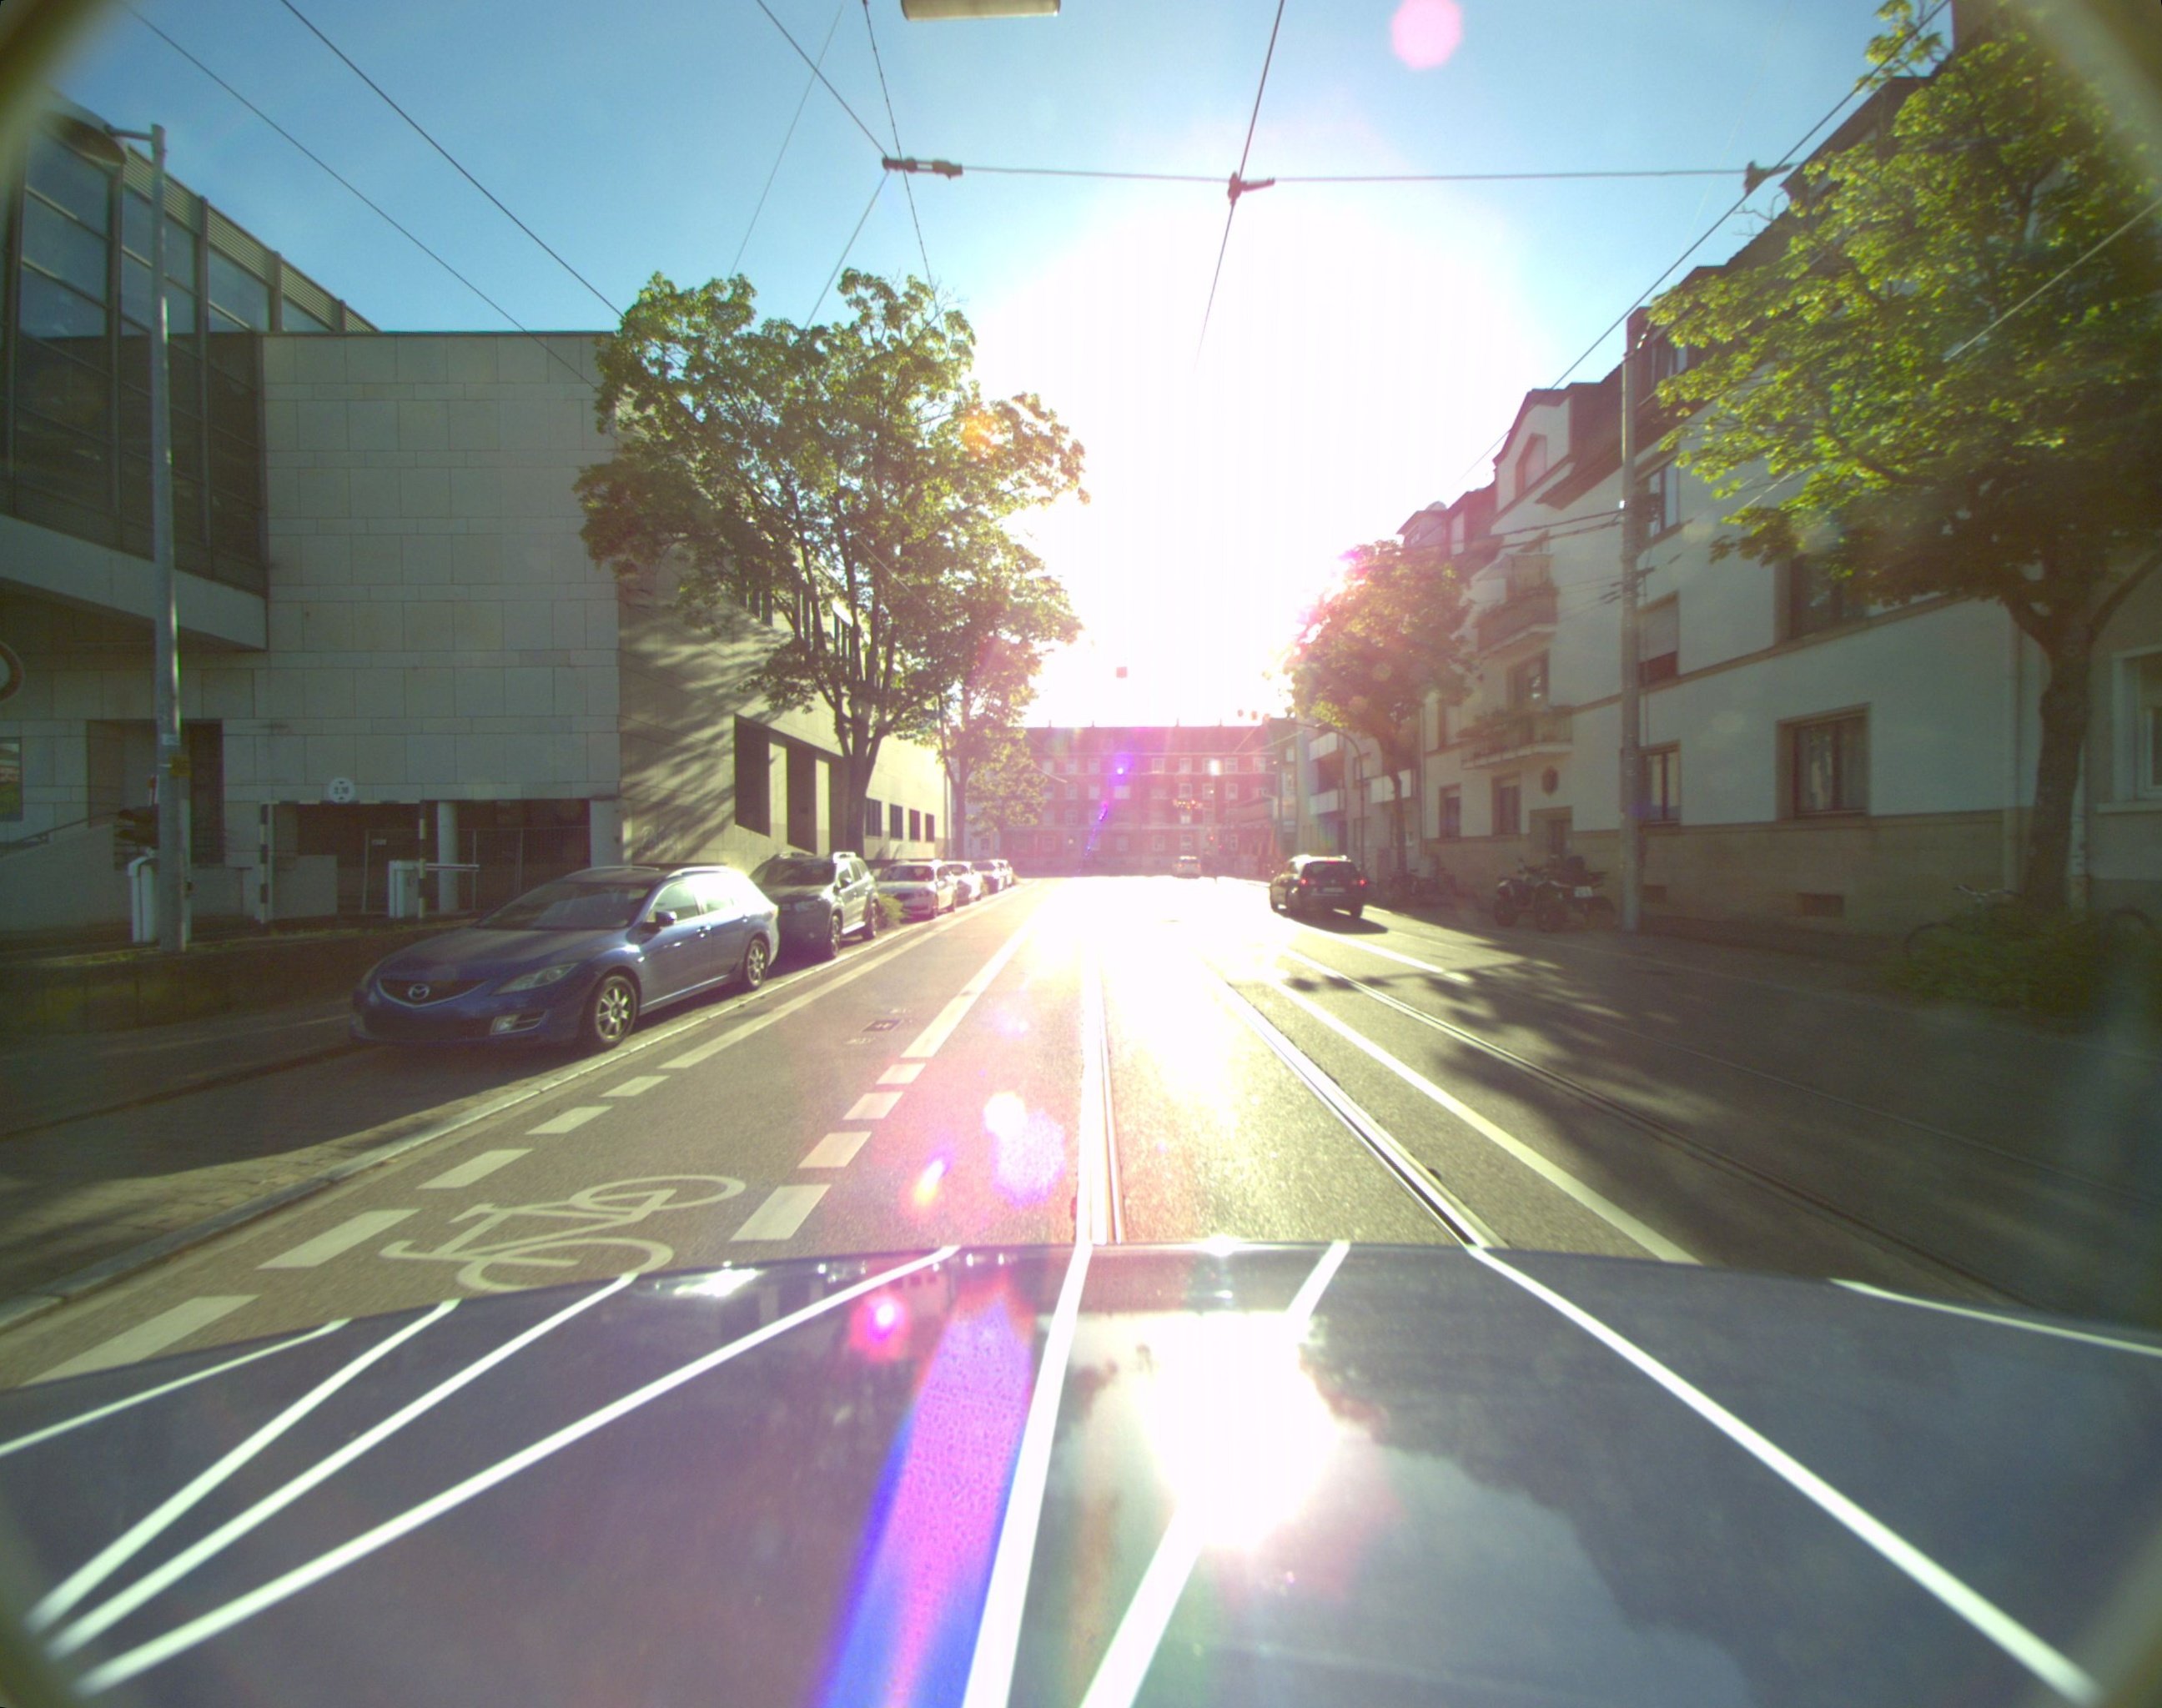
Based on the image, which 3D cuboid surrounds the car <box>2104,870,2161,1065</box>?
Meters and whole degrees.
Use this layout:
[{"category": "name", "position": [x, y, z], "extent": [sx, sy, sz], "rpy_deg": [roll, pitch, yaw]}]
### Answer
[{"category": "car", "position": [9.151, 0.893, 4.229], "extent": [1.576, 1.496, 4.000], "rpy_deg": [-2, 1, 1]}]

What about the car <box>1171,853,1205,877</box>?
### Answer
[{"category": "car", "position": [7.683, 0.761, 54.866], "extent": [1.923, 1.516, 4.000], "rpy_deg": [-2, 1, 1]}]

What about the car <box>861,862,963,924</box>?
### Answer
[{"category": "car", "position": [-4.447, 0.961, 20.697], "extent": [1.716, 1.481, 4.623], "rpy_deg": [0, 0, 1]}]

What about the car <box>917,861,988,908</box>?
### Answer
[{"category": "car", "position": [-4.398, 0.992, 26.567], "extent": [1.713, 1.400, 4.328], "rpy_deg": [1, 1, 1]}]

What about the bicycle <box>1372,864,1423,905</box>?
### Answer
[{"category": "bicycle", "position": [9.464, 0.919, 22.726], "extent": [1.344, 1.163, 0.409], "rpy_deg": [-2, 1, 1]}]

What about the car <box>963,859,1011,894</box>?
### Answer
[{"category": "car", "position": [-4.313, 0.994, 35.402], "extent": [1.682, 1.400, 4.660], "rpy_deg": [1, 1, -1]}]

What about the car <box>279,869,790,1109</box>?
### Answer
[{"category": "car", "position": [-4.705, 0.993, 7.622], "extent": [1.706, 1.473, 4.658], "rpy_deg": [2, 1, 1]}]

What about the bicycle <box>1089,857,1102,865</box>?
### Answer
[{"category": "bicycle", "position": [1.829, 0.897, 97.279], "extent": [1.676, 0.943, 0.554], "rpy_deg": [-2, 1, 0]}]

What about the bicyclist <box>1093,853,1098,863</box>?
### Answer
[{"category": "bicyclist", "position": [1.860, 0.525, 97.264], "extent": [0.668, 1.217, 0.554], "rpy_deg": [-2, 1, 0]}]

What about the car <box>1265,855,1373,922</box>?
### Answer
[{"category": "car", "position": [6.014, 0.801, 19.767], "extent": [1.769, 1.455, 4.749], "rpy_deg": [0, 1, 6]}]

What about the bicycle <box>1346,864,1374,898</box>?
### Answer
[{"category": "bicycle", "position": [9.133, 0.879, 24.918], "extent": [0.303, 1.036, 1.661], "rpy_deg": [-2, 1, 1]}]

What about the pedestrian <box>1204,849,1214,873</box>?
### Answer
[{"category": "pedestrian", "position": [9.781, 0.531, 58.258], "extent": [0.640, 1.764, 0.583], "rpy_deg": [-2, 1, 1]}]

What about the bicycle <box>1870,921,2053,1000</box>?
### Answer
[{"category": "bicycle", "position": [9.918, 1.192, 8.571], "extent": [1.792, 0.798, 0.276], "rpy_deg": [-2, 1, -1]}]

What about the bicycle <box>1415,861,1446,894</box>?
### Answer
[{"category": "bicycle", "position": [12.030, 0.789, 26.185], "extent": [0.303, 1.036, 1.661], "rpy_deg": [-2, 1, 1]}]

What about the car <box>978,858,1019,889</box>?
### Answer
[{"category": "car", "position": [-4.448, 1.008, 41.374], "extent": [1.654, 1.471, 4.000], "rpy_deg": [-2, 1, 1]}]

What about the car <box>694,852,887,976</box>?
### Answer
[{"category": "car", "position": [-4.697, 0.853, 13.025], "extent": [1.746, 1.702, 4.276], "rpy_deg": [-1, 1, -2]}]

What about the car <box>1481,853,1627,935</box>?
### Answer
[{"category": "car", "position": [9.527, 0.794, 15.493], "extent": [1.358, 1.493, 2.548], "rpy_deg": [-2, -2, 1]}]
